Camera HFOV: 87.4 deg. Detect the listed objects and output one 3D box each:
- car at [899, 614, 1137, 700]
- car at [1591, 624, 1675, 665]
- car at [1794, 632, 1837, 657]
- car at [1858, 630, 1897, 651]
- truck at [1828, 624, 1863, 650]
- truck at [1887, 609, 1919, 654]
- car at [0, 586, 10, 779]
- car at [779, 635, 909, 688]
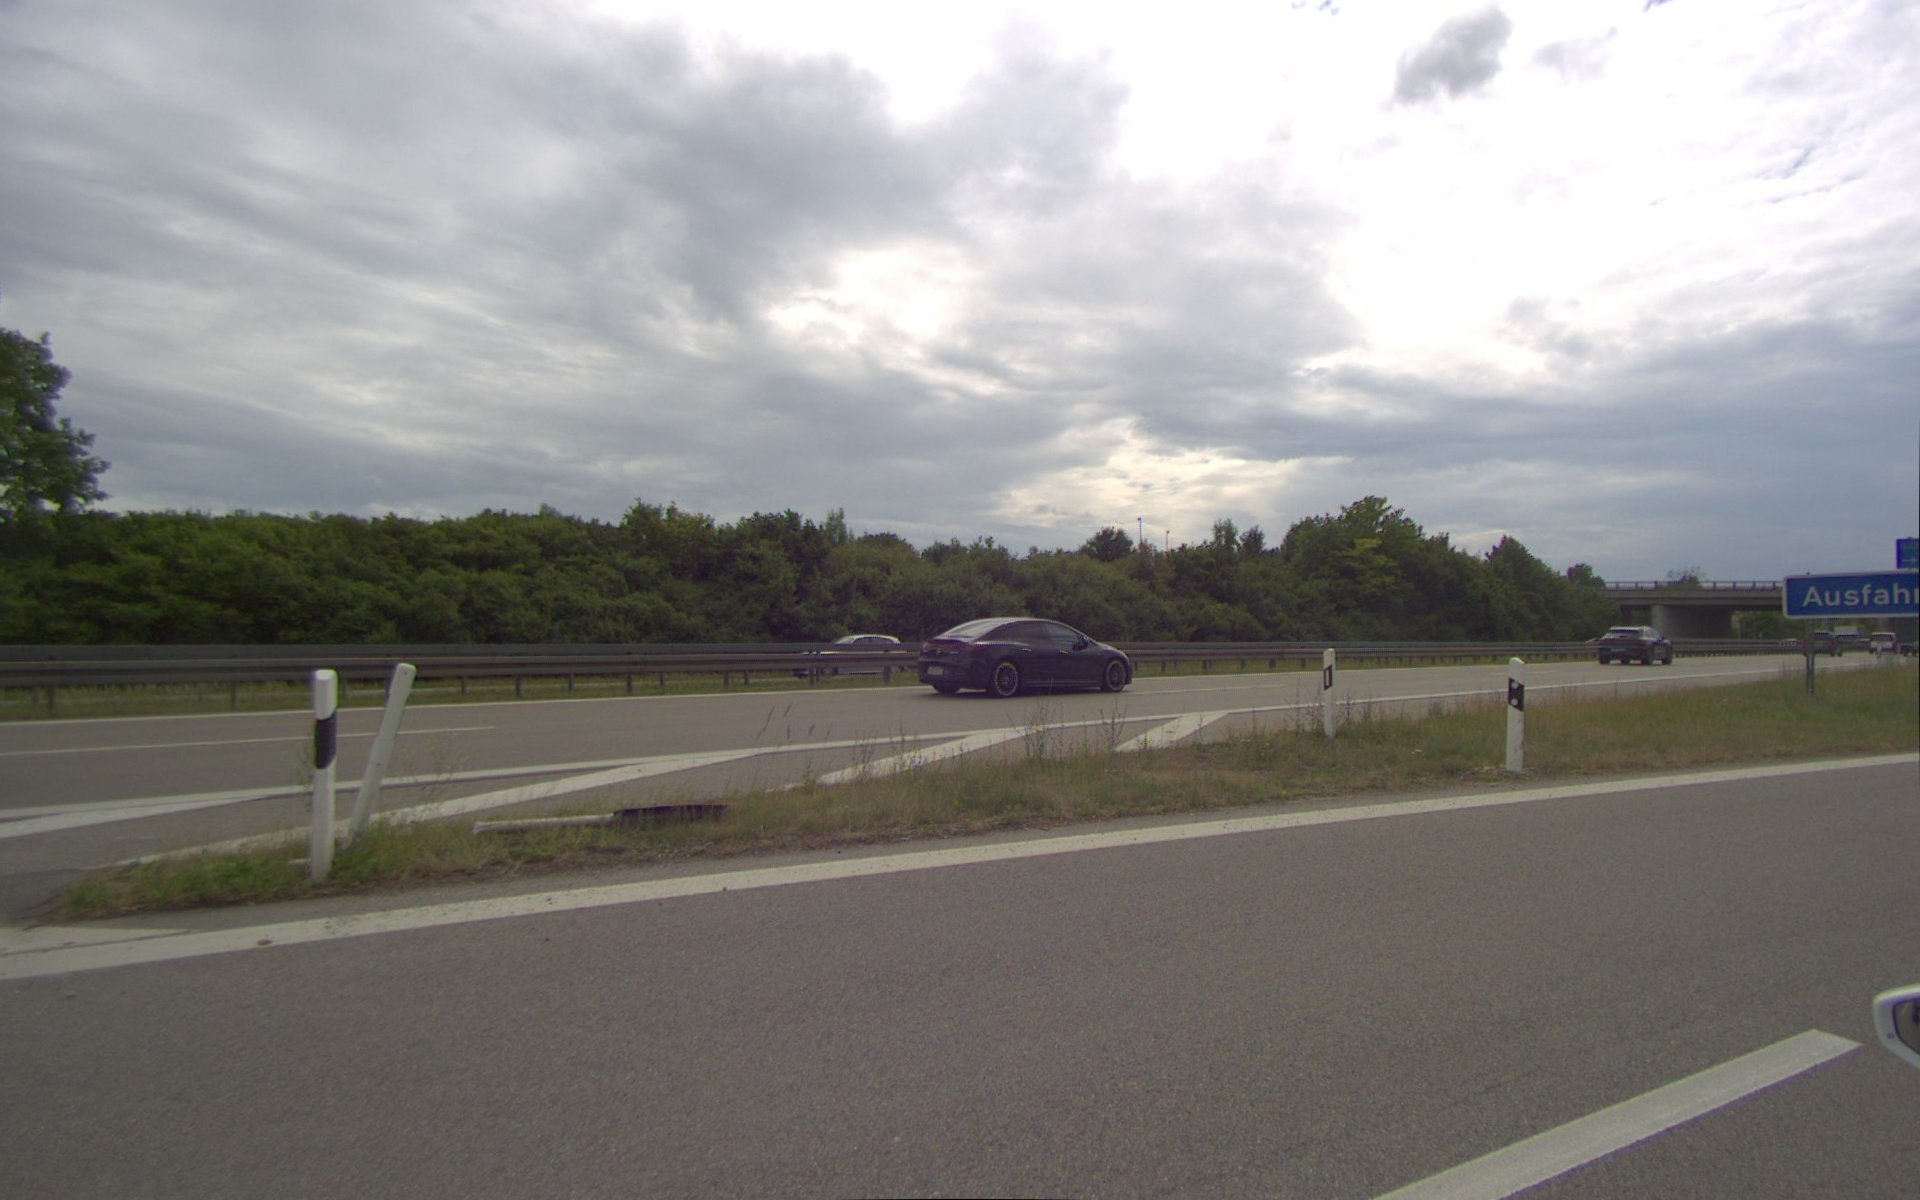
[{"bbox_3d":[1.256,1.094,20.079,4.740,1.529,1.977,2,-2,-40],"label":"car"},{"bbox_3d":[30.765,2.007,45.881,4.790,1.766,1.977,2,-3,-41],"label":"car"},{"bbox_3d":[62.920,3.279,73.855,4.302,1.782,1.829,2,-2,-41],"label":"car"},{"bbox_3d":[80.184,3.532,87.781,3.967,1.834,1.977,2,-2,-40],"label":"car"},{"bbox_3d":[130.075,5.420,147.487,8.132,3.694,2.735,2,-2,-41],"label":"truck"},{"bbox_3d":[74.998,2.528,78.785,7.861,3.415,2.446,2,-3,-41],"label":"truck"},{"bbox_3d":[-8.975,0.611,6.510,3.969,1.539,1.702,2,-2,-41],"label":"car"},{"bbox_3d":[-3.775,1.981,33.109,3.970,1.617,1.787,2,-2,-42],"label":"car"}]
